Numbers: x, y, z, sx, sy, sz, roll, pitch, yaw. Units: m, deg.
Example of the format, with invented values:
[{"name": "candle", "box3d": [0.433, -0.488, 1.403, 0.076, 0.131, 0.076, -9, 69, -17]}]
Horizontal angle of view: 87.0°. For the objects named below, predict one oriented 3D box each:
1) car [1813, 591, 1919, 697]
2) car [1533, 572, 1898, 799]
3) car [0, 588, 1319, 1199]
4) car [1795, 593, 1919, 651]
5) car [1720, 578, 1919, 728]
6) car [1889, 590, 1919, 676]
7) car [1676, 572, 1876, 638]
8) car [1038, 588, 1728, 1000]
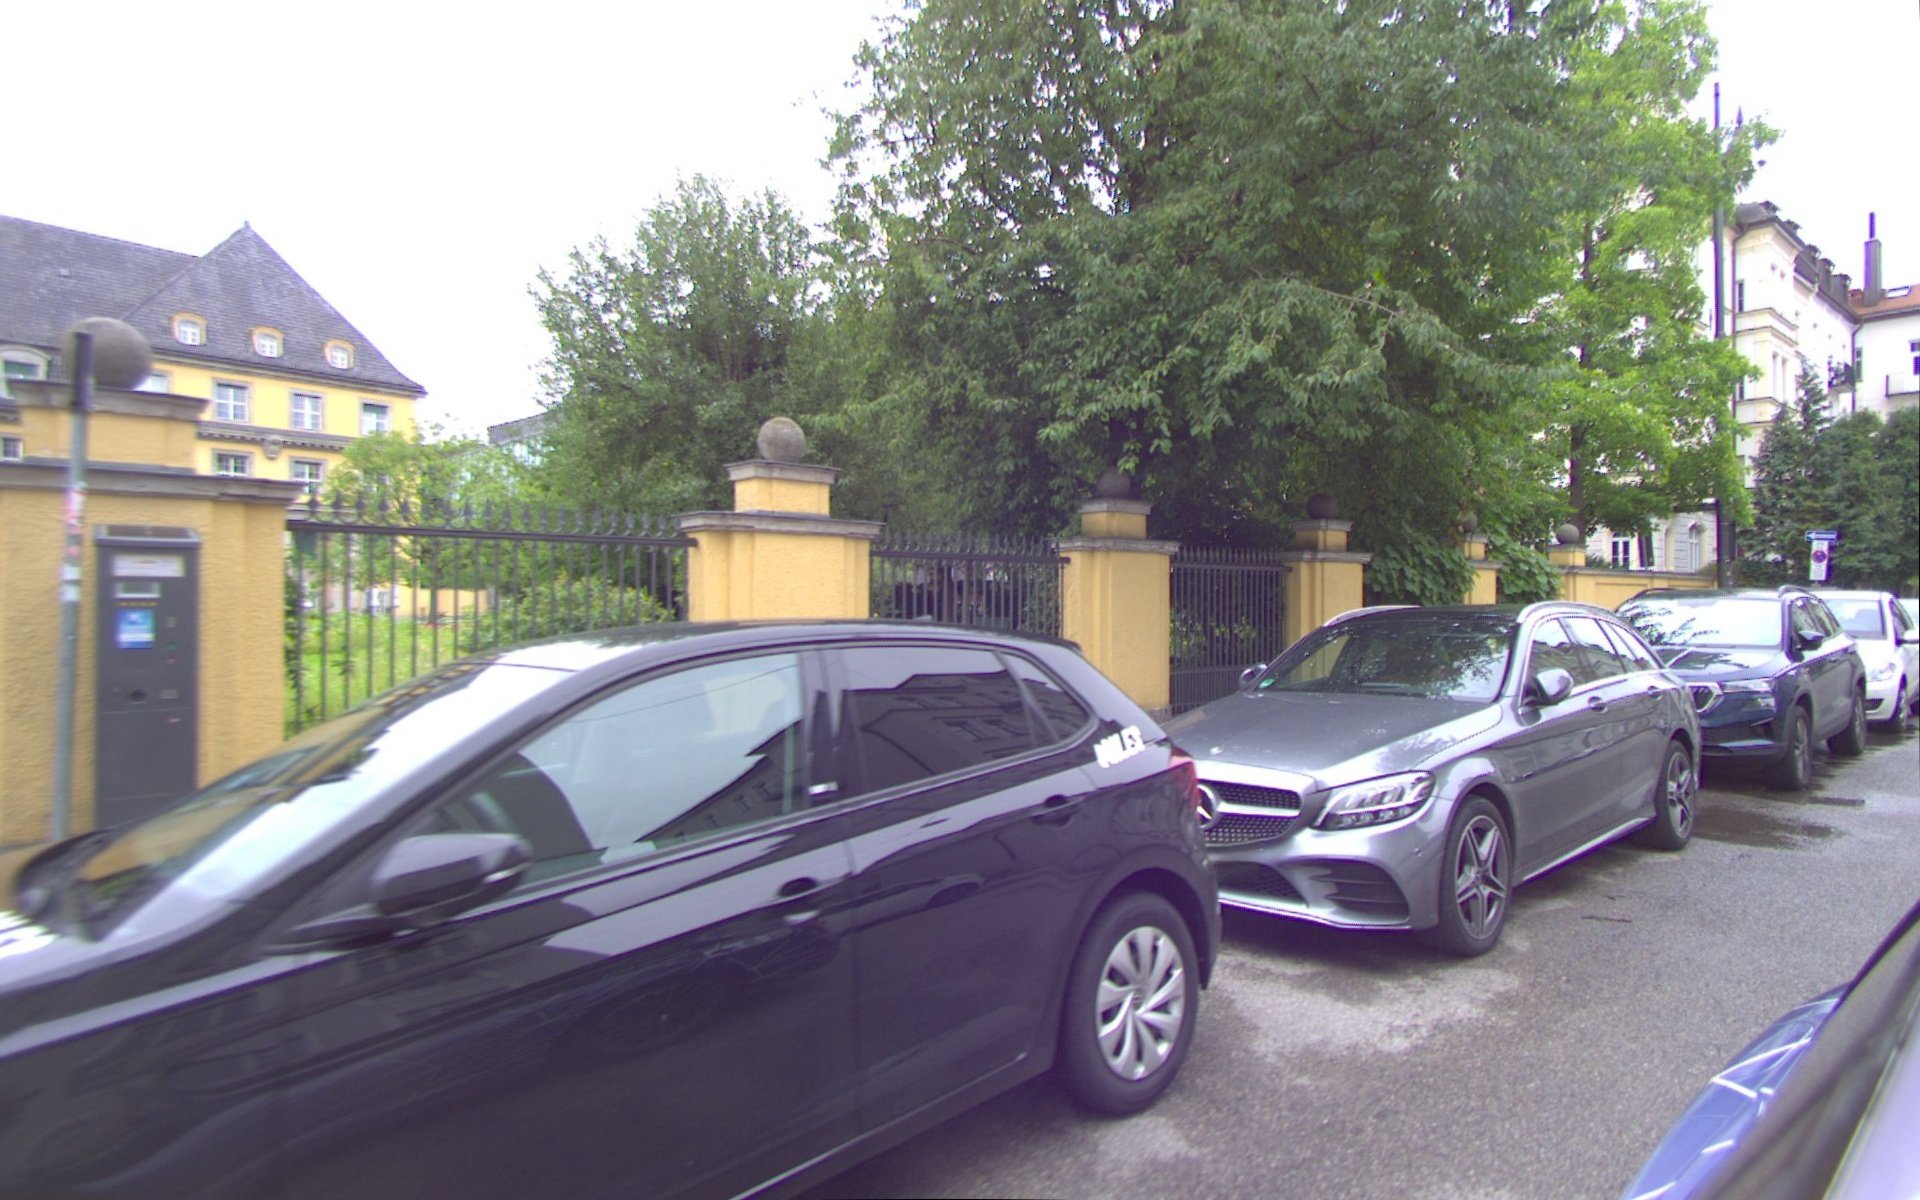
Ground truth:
[{"name": "car", "box3d": [14.772, 0.597, 15.703, 4.110, 1.471, 1.716, -1, 0, -41]}, {"name": "car", "box3d": [7.073, 0.579, 9.272, 4.609, 1.590, 1.716, -1, 0, -41]}, {"name": "car", "box3d": [-0.857, 0.727, 2.697, 3.967, 1.433, 1.694, -1, -2, -42]}, {"name": "car", "box3d": [24.549, 0.552, 25.968, 1.761, 1.431, 4.576, 0, 0, -40]}, {"name": "car", "box3d": [11.217, 0.538, 12.782, 4.244, 1.590, 1.716, -1, 0, -41]}, {"name": "car", "box3d": [18.670, 0.548, 18.653, 4.868, 1.471, 1.716, -1, 0, -41]}, {"name": "car", "box3d": [25.199, 0.159, 31.396, 1.713, 1.896, 4.668, 3, -2, -43]}, {"name": "car", "box3d": [2.613, 0.662, 5.627, 4.435, 1.432, 1.695, -1, 0, -40]}]
